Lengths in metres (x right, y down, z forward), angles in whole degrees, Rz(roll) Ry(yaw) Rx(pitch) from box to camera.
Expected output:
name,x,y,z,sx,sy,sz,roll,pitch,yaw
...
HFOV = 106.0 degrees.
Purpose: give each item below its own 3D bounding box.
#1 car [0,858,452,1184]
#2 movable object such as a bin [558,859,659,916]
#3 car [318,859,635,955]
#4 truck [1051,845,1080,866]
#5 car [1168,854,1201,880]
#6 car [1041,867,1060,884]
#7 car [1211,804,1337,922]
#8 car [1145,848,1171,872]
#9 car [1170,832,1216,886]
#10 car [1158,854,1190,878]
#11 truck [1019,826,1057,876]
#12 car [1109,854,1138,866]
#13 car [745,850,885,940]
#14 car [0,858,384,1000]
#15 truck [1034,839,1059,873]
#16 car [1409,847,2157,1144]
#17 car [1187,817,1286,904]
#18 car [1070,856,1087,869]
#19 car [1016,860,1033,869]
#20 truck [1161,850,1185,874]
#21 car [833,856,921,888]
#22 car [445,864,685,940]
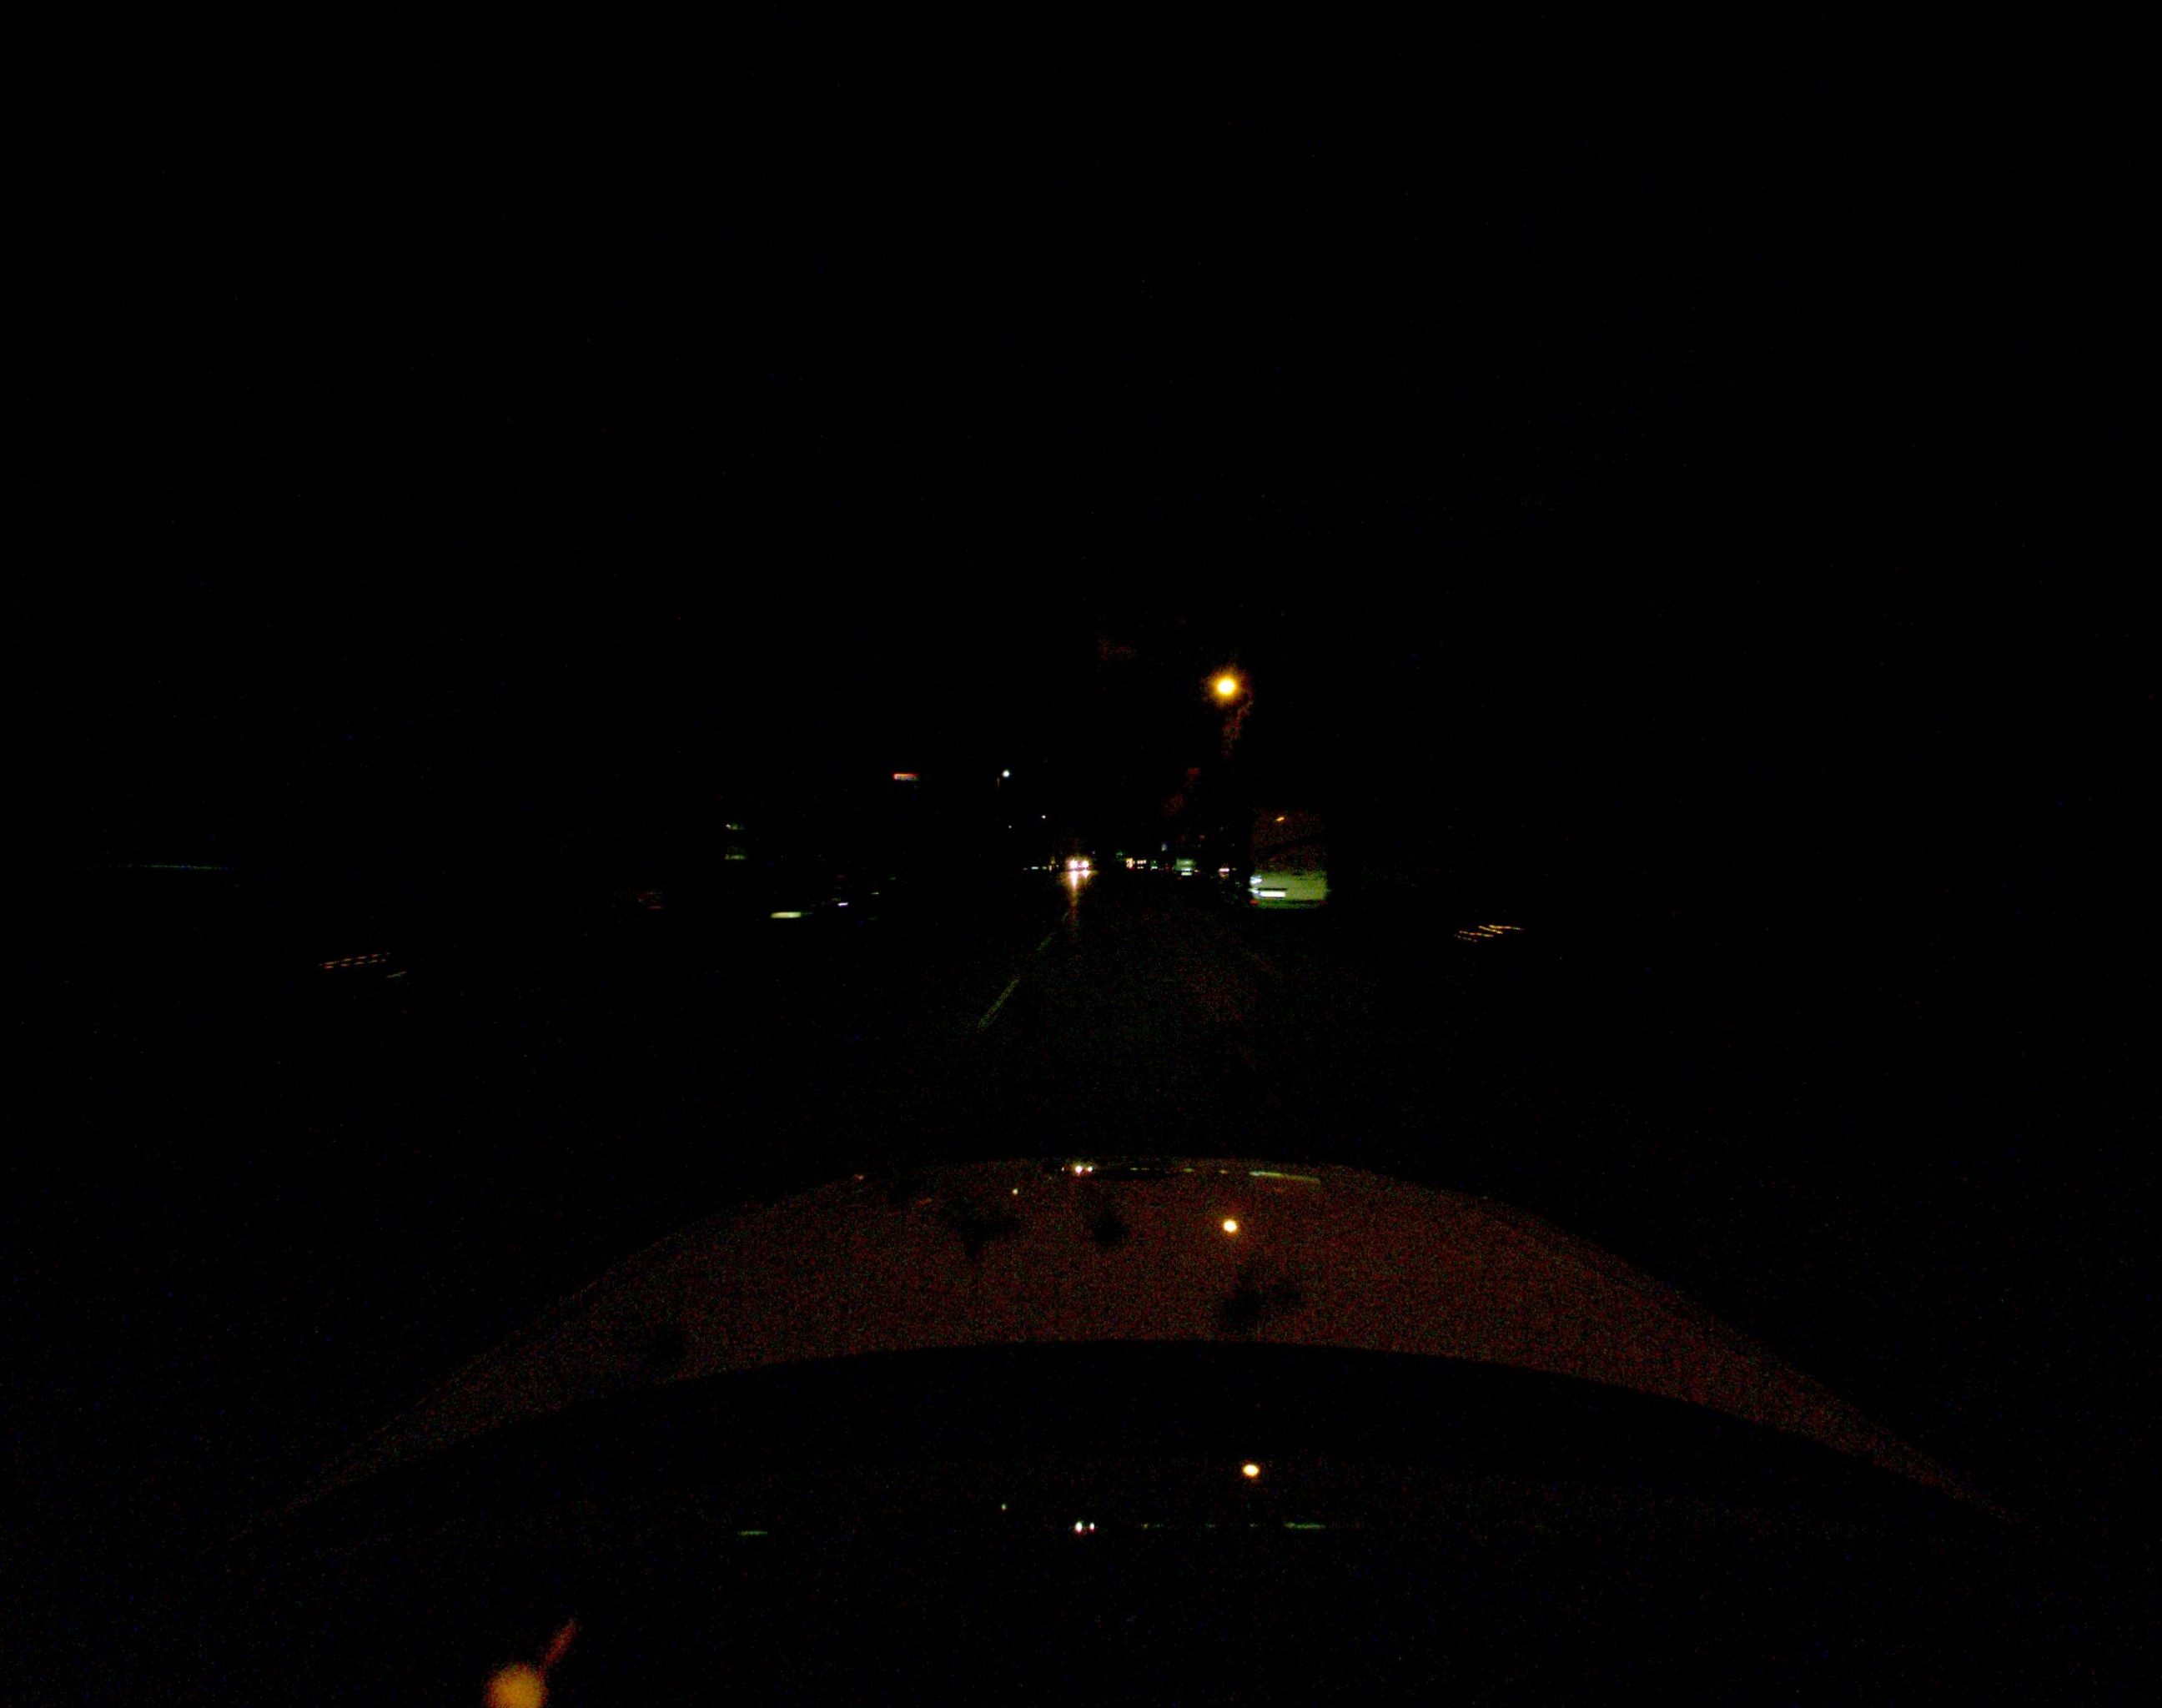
name,x,y,z,sx,sy,sz,roll,pitch,yaw
car,-6.624,0.905,4.810,1.940,1.688,4.818,-1,0,2
movable object such as a bin,-13.262,0.915,22.952,1.850,1.500,1.610,-1,0,2
car,-11.465,0.935,15.956,4.682,1.551,1.982,-1,-1,-27
truck,-2.920,0.414,153.384,2.763,3.783,9.078,-1,0,-19
car,6.120,0.749,48.544,1.761,1.412,4.556,-1,0,4
car,-3.367,2.334,90.581,1.939,1.717,5.194,-2,0,-2
car,4.748,0.192,21.043,1.986,2.571,6.017,1,0,2
car,6.915,0.511,73.794,1.986,2.013,4.914,-2,0,2
car,5.649,0.248,41.700,1.984,2.526,5.916,1,0,4
car,6.184,0.758,54.605,1.937,1.489,5.016,-1,0,4
truck,-3.681,-0.233,71.716,2.737,4.034,9.559,-1,0,0
car,7.097,1.006,136.502,4.341,1.646,1.879,-4,1,-20
car,-6.194,0.886,19.531,1.807,1.849,4.415,-1,0,1
car,-12.190,0.897,10.499,4.419,1.560,1.985,-1,-1,-23
truck,-4.613,0.258,106.692,2.768,4.120,9.324,-2,0,-5
car,4.433,0.692,6.456,1.823,1.407,4.910,1,0,2
car,5.120,0.201,27.725,2.122,2.571,5.907,1,0,-1
car,-0.271,1.028,94.905,1.851,1.420,4.001,-1,0,1
car,-9.314,1.744,133.915,1.818,1.371,4.337,-1,0,-16
truck,6.708,0.575,59.857,1.365,1.644,3.813,-1,0,1
car,-10.847,0.942,43.396,4.094,1.432,1.906,3,1,20
car,-11.501,1.016,18.562,4.425,1.440,1.778,-1,-1,-27
